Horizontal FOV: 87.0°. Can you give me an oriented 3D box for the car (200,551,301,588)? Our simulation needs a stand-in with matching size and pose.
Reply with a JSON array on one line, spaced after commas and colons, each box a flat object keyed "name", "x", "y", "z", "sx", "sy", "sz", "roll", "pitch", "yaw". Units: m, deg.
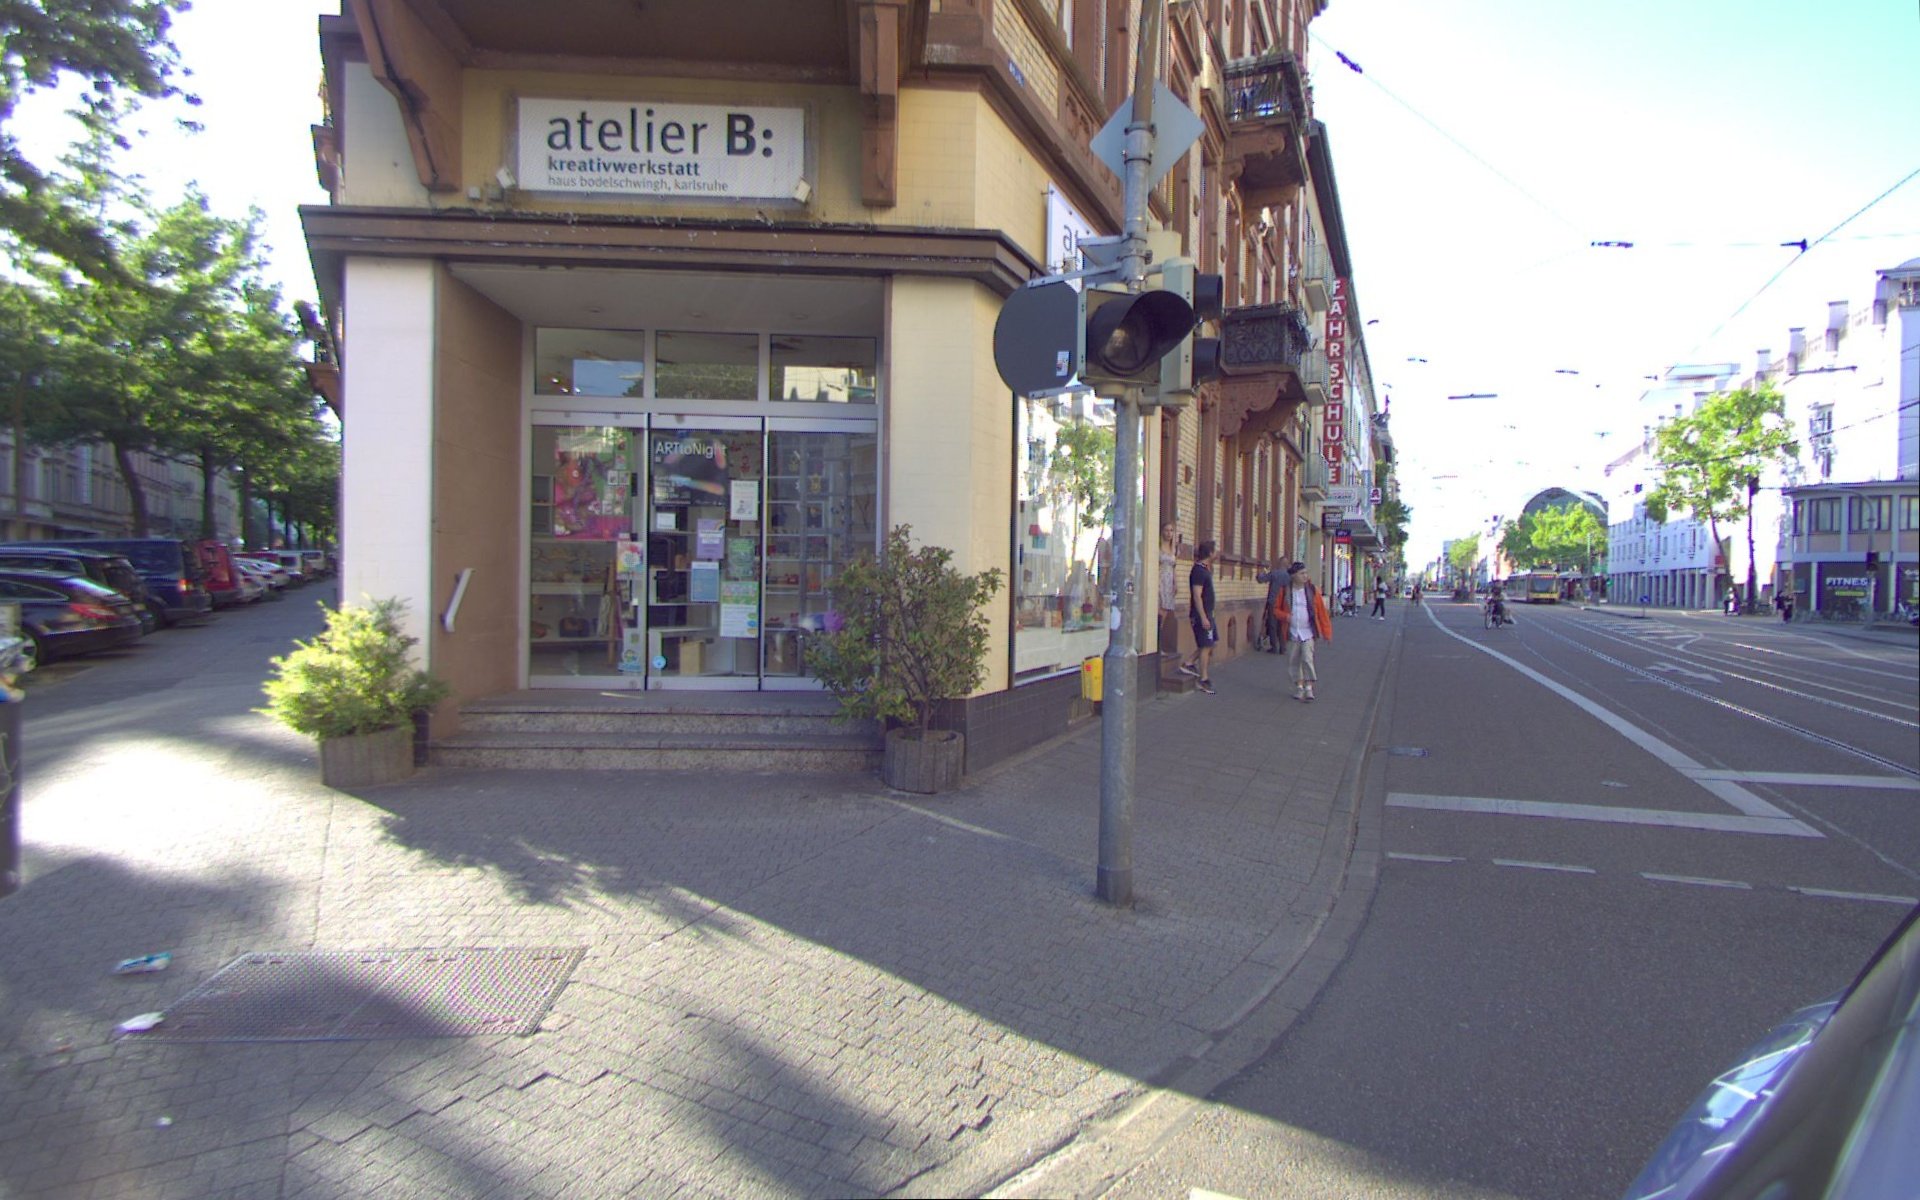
[{"name": "car", "x": -36.932, "y": -1.640, "z": 52.832, "sx": 4.152, "sy": 1.798, "sz": 1.837, "roll": -3, "pitch": 3, "yaw": -31}]

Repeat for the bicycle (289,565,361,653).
[{"name": "bicycle", "x": -9.469, "y": 0.083, "z": 15.170, "sx": 0.659, "sy": 1.186, "sz": 2.597, "roll": -2, "pitch": 3, "yaw": -27}]

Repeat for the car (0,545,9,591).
[{"name": "car", "x": -40.651, "y": -1.322, "z": 41.033, "sx": 1.801, "sy": 1.967, "sz": 5.267, "roll": 2, "pitch": 1, "yaw": -30}]

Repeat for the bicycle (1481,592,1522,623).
[{"name": "bicycle", "x": 19.908, "y": 0.252, "z": 37.274, "sx": 1.063, "sy": 1.015, "sz": 3.038, "roll": 1, "pitch": 1, "yaw": 23}]

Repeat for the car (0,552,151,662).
[{"name": "car", "x": -14.077, "y": 0.107, "z": 13.595, "sx": 4.704, "sy": 1.430, "sz": 1.854, "roll": -2, "pitch": 2, "yaw": -28}]

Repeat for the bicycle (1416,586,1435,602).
[{"name": "bicycle", "x": 32.359, "y": -0.431, "z": 70.382, "sx": 1.063, "sy": 1.015, "sz": 3.038, "roll": 1, "pitch": 1, "yaw": 23}]

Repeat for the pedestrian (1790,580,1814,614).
[{"name": "pedestrian", "x": 40.628, "y": -0.146, "z": 48.863, "sx": 0.609, "sy": 1.626, "sz": 0.893, "roll": 1, "pitch": 1, "yaw": 22}]

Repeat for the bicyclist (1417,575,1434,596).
[{"name": "bicyclist", "x": 32.378, "y": -0.985, "z": 70.380, "sx": 1.063, "sy": 1.426, "sz": 0.832, "roll": 1, "pitch": 1, "yaw": 24}]

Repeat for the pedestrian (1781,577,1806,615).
[{"name": "pedestrian", "x": 39.460, "y": -0.193, "z": 47.906, "sx": 0.609, "sy": 1.751, "sz": 0.893, "roll": 1, "pitch": 1, "yaw": 22}]

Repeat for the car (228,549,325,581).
[{"name": "car", "x": -44.082, "y": -2.308, "z": 65.401, "sx": 4.973, "sy": 1.948, "sz": 1.837, "roll": -2, "pitch": 3, "yaw": -30}]

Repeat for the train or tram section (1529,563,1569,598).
[{"name": "train or tram section", "x": 56.443, "y": -1.915, "z": 97.188, "sx": 2.256, "sy": 3.178, "sz": 9.958, "roll": 1, "pitch": 1, "yaw": 24}]

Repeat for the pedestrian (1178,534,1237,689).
[{"name": "pedestrian", "x": 2.978, "y": 0.120, "z": 12.134, "sx": 0.594, "sy": 1.797, "sz": 0.747, "roll": 1, "pitch": 1, "yaw": 20}]

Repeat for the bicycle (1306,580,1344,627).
[{"name": "bicycle", "x": 10.564, "y": 0.073, "z": 29.210, "sx": 0.885, "sy": 1.286, "sz": 2.783, "roll": 1, "pitch": 1, "yaw": 22}]

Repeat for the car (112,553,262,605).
[{"name": "car", "x": -26.839, "y": -0.772, "z": 35.331, "sx": 3.945, "sy": 1.647, "sz": 1.807, "roll": -2, "pitch": 3, "yaw": -32}]

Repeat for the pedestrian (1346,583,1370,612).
[{"name": "pedestrian", "x": 16.514, "y": -0.100, "z": 41.988, "sx": 0.890, "sy": 1.191, "sz": 0.719, "roll": 1, "pitch": 1, "yaw": 22}]

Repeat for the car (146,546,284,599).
[{"name": "car", "x": -30.569, "y": -1.194, "z": 41.709, "sx": 4.373, "sy": 1.947, "sz": 1.852, "roll": -4, "pitch": 5, "yaw": -33}]

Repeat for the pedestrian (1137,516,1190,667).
[{"name": "pedestrian", "x": 2.494, "y": -0.108, "z": 12.378, "sx": 0.543, "sy": 1.797, "sz": 0.567, "roll": 1, "pitch": 1, "yaw": 20}]

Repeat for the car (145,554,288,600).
[{"name": "car", "x": -28.986, "y": -0.936, "z": 39.620, "sx": 4.273, "sy": 1.575, "sz": 1.852, "roll": -3, "pitch": 5, "yaw": -31}]

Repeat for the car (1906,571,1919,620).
[{"name": "car", "x": 38.821, "y": -0.104, "z": 37.702, "sx": 4.773, "sy": 1.860, "sz": 2.040, "roll": 1, "pitch": 1, "yaw": 27}]

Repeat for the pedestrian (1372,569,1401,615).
[{"name": "pedestrian", "x": 17.725, "y": -0.332, "z": 42.070, "sx": 0.883, "sy": 1.861, "sz": 0.725, "roll": 1, "pitch": 1, "yaw": 0}]

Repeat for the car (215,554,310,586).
[{"name": "car", "x": -38.020, "y": -1.680, "z": 55.198, "sx": 4.158, "sy": 1.630, "sz": 1.834, "roll": -3, "pitch": 4, "yaw": -37}]

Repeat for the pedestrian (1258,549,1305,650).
[{"name": "pedestrian", "x": 6.066, "y": -0.021, "z": 19.085, "sx": 0.717, "sy": 1.861, "sz": 0.893, "roll": 1, "pitch": 1, "yaw": 25}]

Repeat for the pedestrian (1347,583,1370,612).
[{"name": "pedestrian", "x": 16.826, "y": -0.109, "z": 42.730, "sx": 0.890, "sy": 1.191, "sz": 0.719, "roll": 1, "pitch": 1, "yaw": 22}]

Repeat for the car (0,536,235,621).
[{"name": "car", "x": -22.029, "y": -0.620, "z": 26.682, "sx": 4.600, "sy": 2.058, "sz": 1.880, "roll": -3, "pitch": 3, "yaw": -33}]

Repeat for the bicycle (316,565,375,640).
[{"name": "bicycle", "x": -10.611, "y": 0.002, "z": 17.538, "sx": 0.659, "sy": 1.186, "sz": 2.597, "roll": -2, "pitch": 3, "yaw": -27}]

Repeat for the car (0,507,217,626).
[{"name": "car", "x": -17.954, "y": -0.656, "z": 20.139, "sx": 4.938, "sy": 2.242, "sz": 1.995, "roll": 0, "pitch": 1, "yaw": -31}]

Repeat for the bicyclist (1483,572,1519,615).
[{"name": "bicyclist", "x": 19.922, "y": -0.253, "z": 37.288, "sx": 1.063, "sy": 1.557, "sz": 0.834, "roll": 1, "pitch": 1, "yaw": 24}]

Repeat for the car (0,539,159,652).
[{"name": "car", "x": -15.538, "y": -0.067, "z": 15.679, "sx": 4.608, "sy": 1.699, "sz": 1.854, "roll": -2, "pitch": 2, "yaw": -29}]

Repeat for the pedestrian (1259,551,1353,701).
[{"name": "pedestrian", "x": 4.142, "y": 0.277, "z": 12.181, "sx": 0.994, "sy": 1.701, "sz": 1.167, "roll": 1, "pitch": 1, "yaw": 18}]
